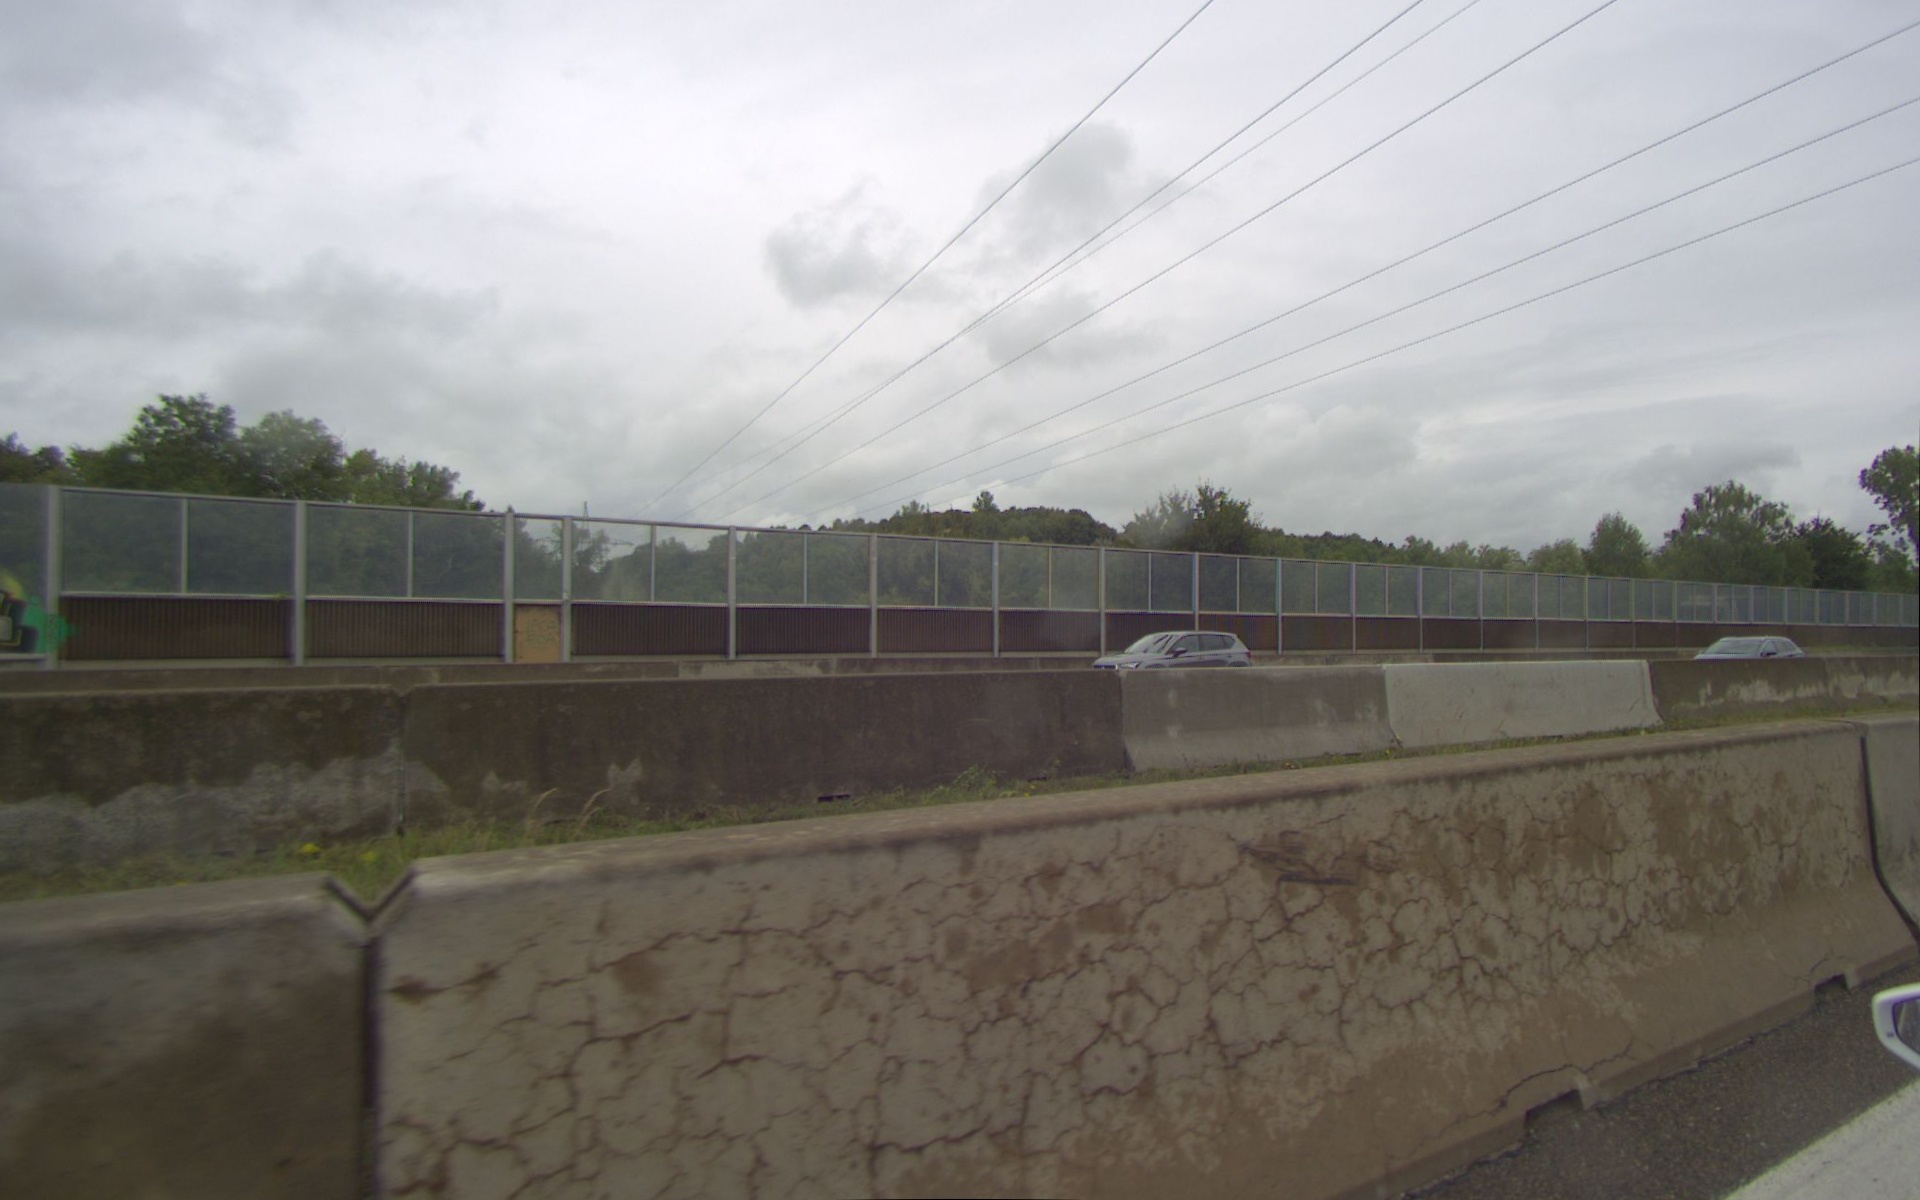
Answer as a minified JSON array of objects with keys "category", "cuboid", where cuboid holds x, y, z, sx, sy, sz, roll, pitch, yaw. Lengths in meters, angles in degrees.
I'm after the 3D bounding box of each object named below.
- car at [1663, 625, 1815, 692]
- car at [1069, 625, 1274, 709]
[{"category":"car","cuboid":[23.811,1.804,30.680,4.590,1.646,2.206,6,-2,-32]},{"category":"car","cuboid":[5.106,1.621,24.130,4.590,1.646,2.108,6,-2,-32]}]
